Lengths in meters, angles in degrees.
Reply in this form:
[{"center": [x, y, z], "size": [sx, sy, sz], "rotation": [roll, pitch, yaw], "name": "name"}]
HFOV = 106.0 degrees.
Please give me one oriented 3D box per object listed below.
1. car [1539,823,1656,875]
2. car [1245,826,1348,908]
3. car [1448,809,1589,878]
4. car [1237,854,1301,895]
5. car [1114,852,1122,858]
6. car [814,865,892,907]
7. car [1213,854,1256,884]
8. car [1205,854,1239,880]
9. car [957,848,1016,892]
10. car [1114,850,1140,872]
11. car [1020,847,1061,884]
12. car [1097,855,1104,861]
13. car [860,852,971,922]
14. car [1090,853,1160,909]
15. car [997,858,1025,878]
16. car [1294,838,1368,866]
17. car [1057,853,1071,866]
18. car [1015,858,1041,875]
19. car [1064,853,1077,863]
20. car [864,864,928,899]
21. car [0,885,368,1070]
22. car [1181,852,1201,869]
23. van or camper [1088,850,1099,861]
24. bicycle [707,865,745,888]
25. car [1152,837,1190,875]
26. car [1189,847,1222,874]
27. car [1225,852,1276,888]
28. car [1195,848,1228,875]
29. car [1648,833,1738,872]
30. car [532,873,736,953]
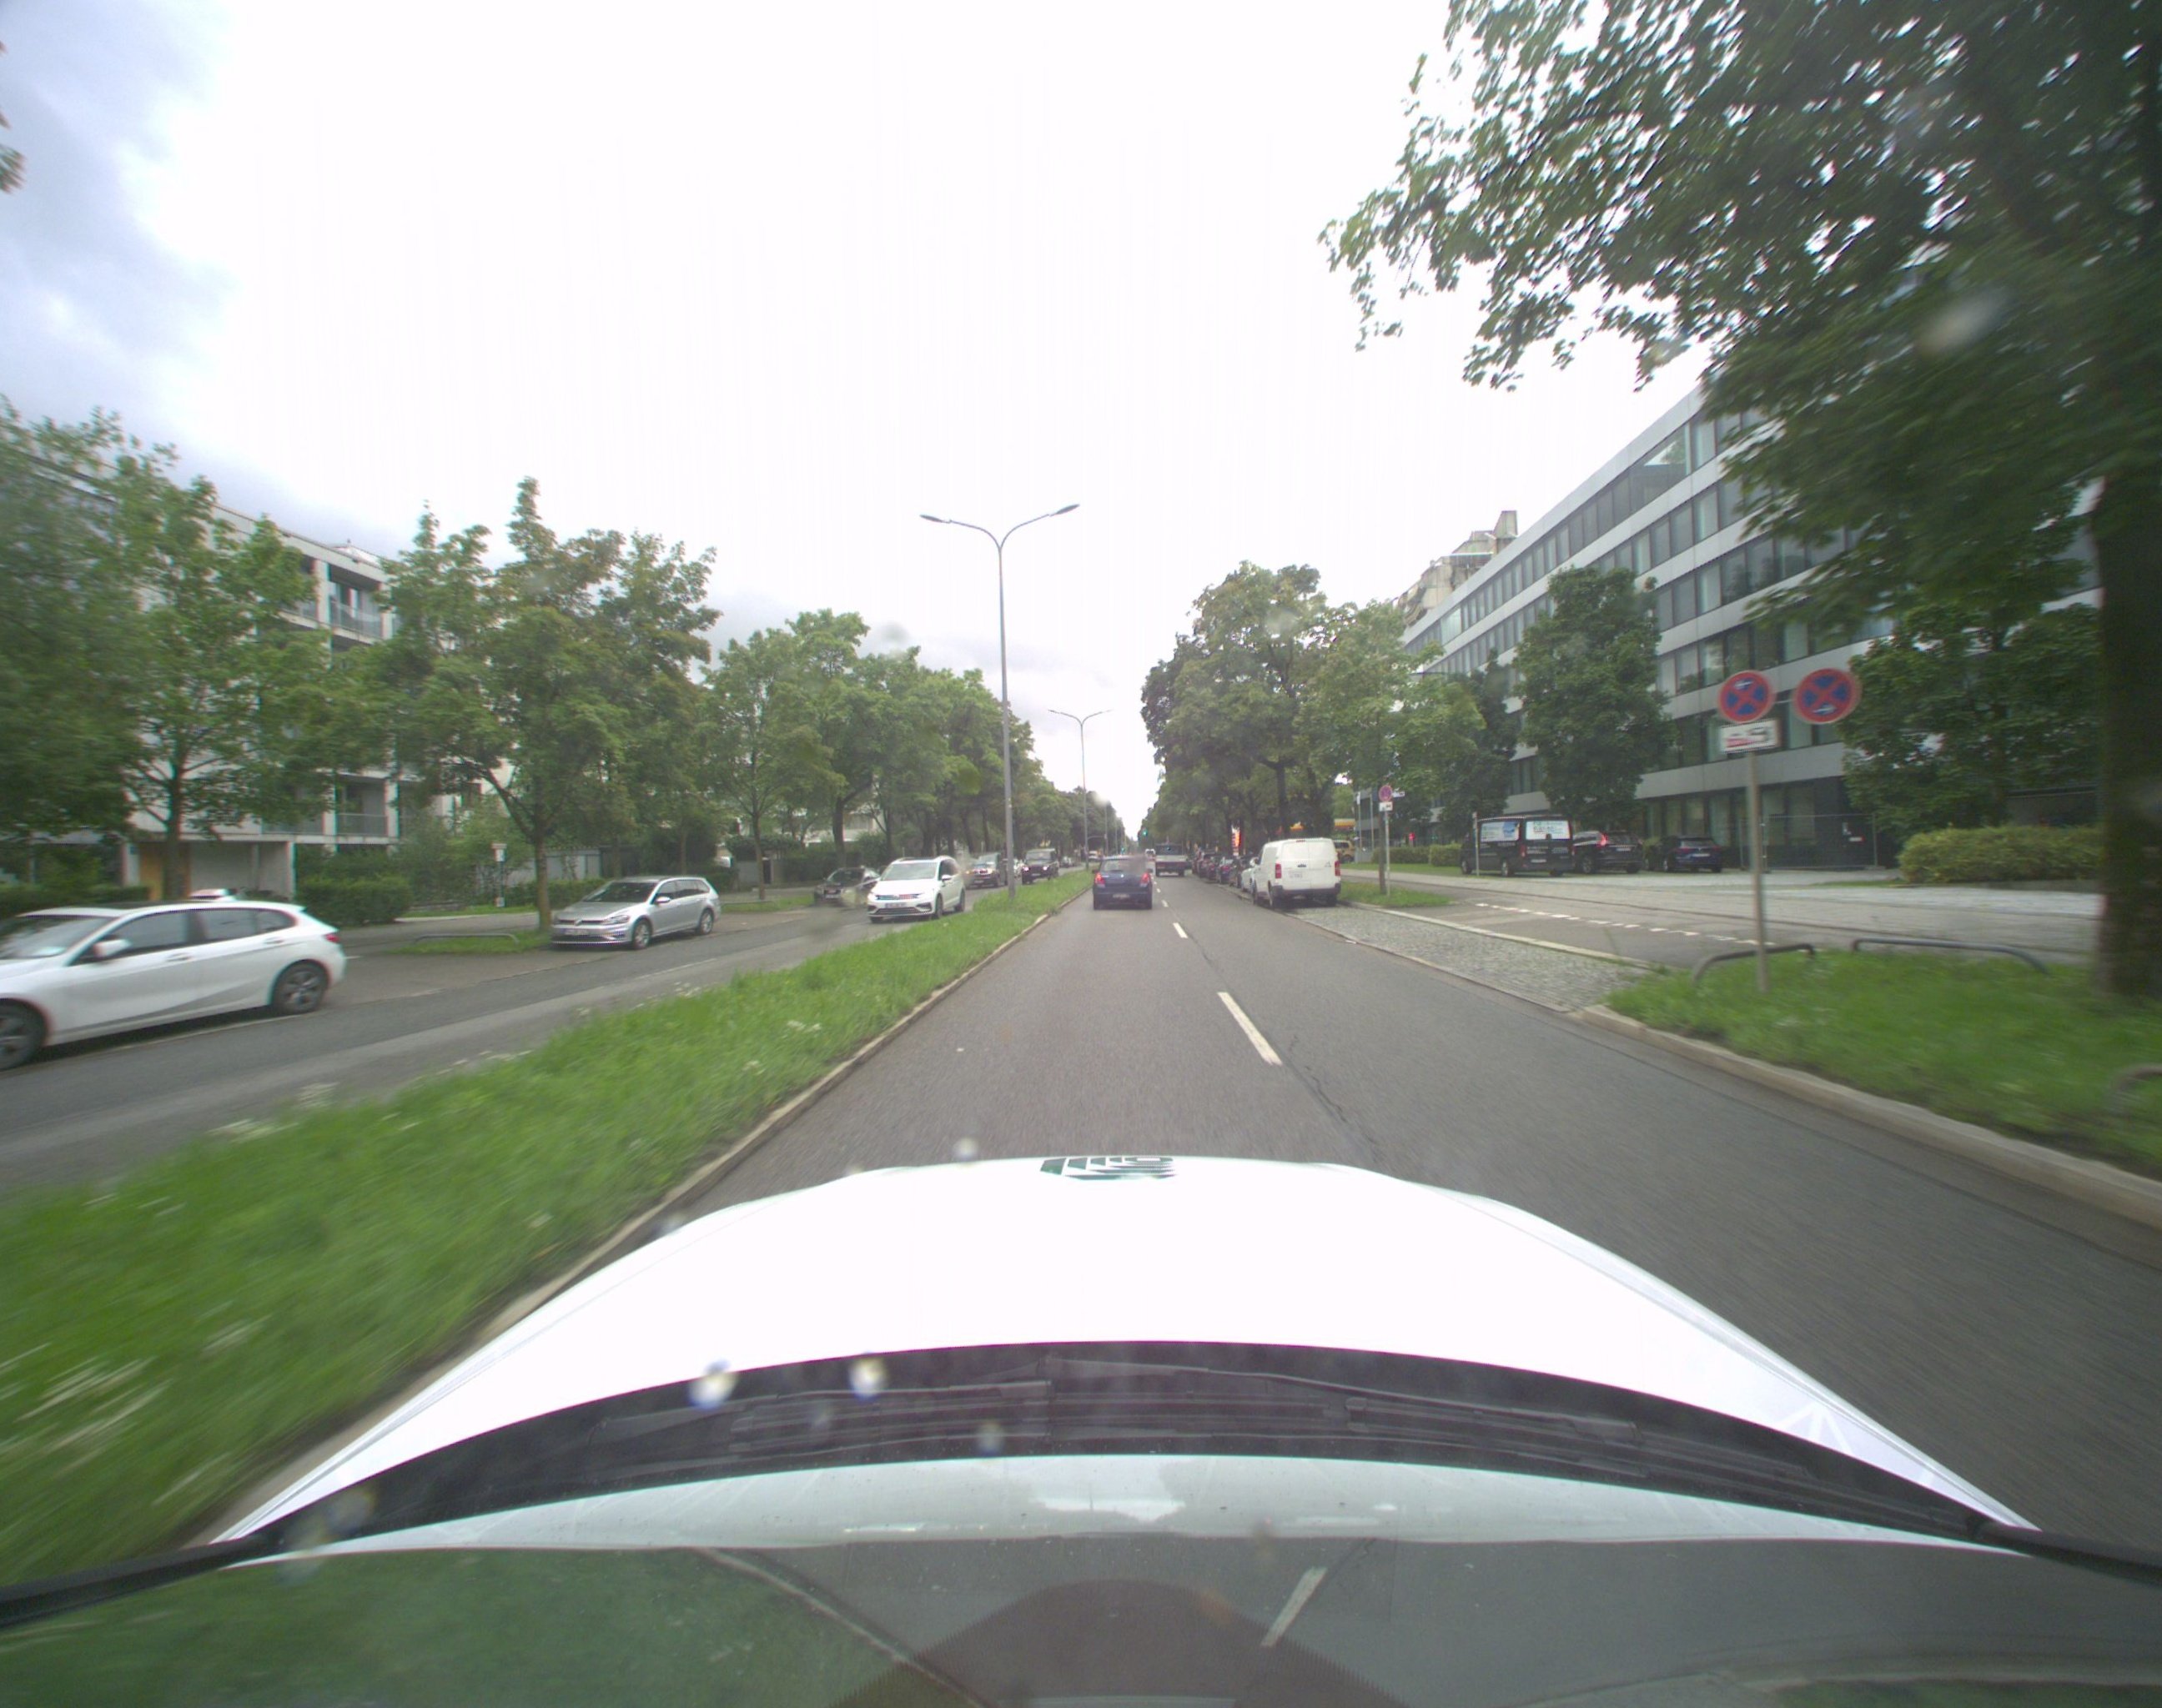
[{"center": [20.110, -0.168, 31.985], "size": [1.835, 1.818, 4.474], "rotation": [-3, 0, 2], "name": "car"}, {"center": [6.422, 0.353, 24.906], "size": [1.978, 2.157, 5.562], "rotation": [-3, 0, 4], "name": "car"}, {"center": [16.708, -0.362, 31.604], "size": [2.256, 2.306, 6.272], "rotation": [-3, 0, 2], "name": "car"}, {"center": [7.125, 0.734, 31.217], "size": [1.694, 1.397, 4.238], "rotation": [-3, 0, 4], "name": "car"}, {"center": [8.726, 0.287, 192.078], "size": [1.731, 1.440, 4.220], "rotation": [-2, 0, 4], "name": "car"}, {"center": [-8.752, 1.199, 31.632], "size": [1.574, 1.423, 4.367], "rotation": [1, 0, 3], "name": "car"}, {"center": [7.884, 0.744, 42.165], "size": [1.694, 1.421, 4.126], "rotation": [-3, 0, 4], "name": "car"}, {"center": [8.370, 0.720, 48.647], "size": [1.693, 1.408, 4.521], "rotation": [-3, 0, 7], "name": "car"}, {"center": [-5.229, 0.868, 46.042], "size": [2.199, 2.194, 5.805], "rotation": [-4, 0, 4], "name": "car"}, {"center": [3.367, 0.490, 59.304], "size": [1.791, 1.499, 3.664], "rotation": [-2, 0, 3], "name": "car"}, {"center": [-2.344, 0.633, 48.156], "size": [1.773, 2.029, 4.823], "rotation": [-3, 0, 4], "name": "car"}, {"center": [5.058, 1.114, 210.928], "size": [1.629, 1.442, 3.739], "rotation": [-3, 0, 4], "name": "car"}, {"center": [-4.390, 0.821, 22.299], "size": [1.826, 1.642, 4.355], "rotation": [-3, 0, 4], "name": "car"}, {"center": [1.237, 0.732, 24.065], "size": [1.889, 1.499, 3.661], "rotation": [-1, 0, 1], "name": "car"}, {"center": [-5.910, 1.175, 69.330], "size": [1.750, 1.595, 4.493], "rotation": [0, 0, 3], "name": "car"}, {"center": [20.728, -0.158, 67.651], "size": [5.447, 2.083, 2.149], "rotation": [-2, 0, 3], "name": "car"}, {"center": [-2.426, 0.801, 116.102], "size": [1.790, 1.763, 5.057], "rotation": [1, 0, 0], "name": "car"}, {"center": [-5.140, 1.196, 79.107], "size": [1.824, 1.609, 4.497], "rotation": [0, 0, 5], "name": "car"}, {"center": [-1.643, 0.599, 128.076], "size": [1.660, 1.562, 4.301], "rotation": [-2, 0, 2], "name": "car"}, {"center": [-8.376, 1.200, 37.281], "size": [1.618, 1.423, 4.198], "rotation": [1, 0, 5], "name": "car"}, {"center": [-10.545, 1.191, 8.676], "size": [1.731, 1.529, 4.481], "rotation": [0, 0, 4], "name": "car"}, {"center": [10.666, 0.634, 79.275], "size": [1.770, 1.511, 4.292], "rotation": [-4, 0, 6], "name": "car"}, {"center": [2.978, 0.437, 190.873], "size": [2.130, 2.476, 6.266], "rotation": [-3, 0, 4], "name": "van or camper"}, {"center": [-20.126, 1.253, 46.131], "size": [1.854, 1.226, 0.530], "rotation": [-2, 0, -8], "name": "bicycle"}, {"center": [6.151, 0.138, 55.906], "size": [2.407, 2.444, 5.094], "rotation": [-1, 0, 6], "name": "car"}, {"center": [9.133, 0.442, 60.071], "size": [1.884, 1.800, 4.866], "rotation": [-3, 0, 4], "name": "car"}, {"center": [7.634, 0.691, 36.968], "size": [1.694, 1.446, 3.983], "rotation": [-3, 0, 4], "name": "car"}, {"center": [8.589, 0.461, 53.874], "size": [1.804, 1.675, 4.808], "rotation": [-3, 0, 6], "name": "car"}, {"center": [23.227, -0.057, 31.070], "size": [1.767, 1.374, 3.986], "rotation": [-1, 0, 22], "name": "car"}, {"center": [-9.886, 1.214, 18.557], "size": [1.729, 1.448, 4.827], "rotation": [1, 0, 4], "name": "car"}]
